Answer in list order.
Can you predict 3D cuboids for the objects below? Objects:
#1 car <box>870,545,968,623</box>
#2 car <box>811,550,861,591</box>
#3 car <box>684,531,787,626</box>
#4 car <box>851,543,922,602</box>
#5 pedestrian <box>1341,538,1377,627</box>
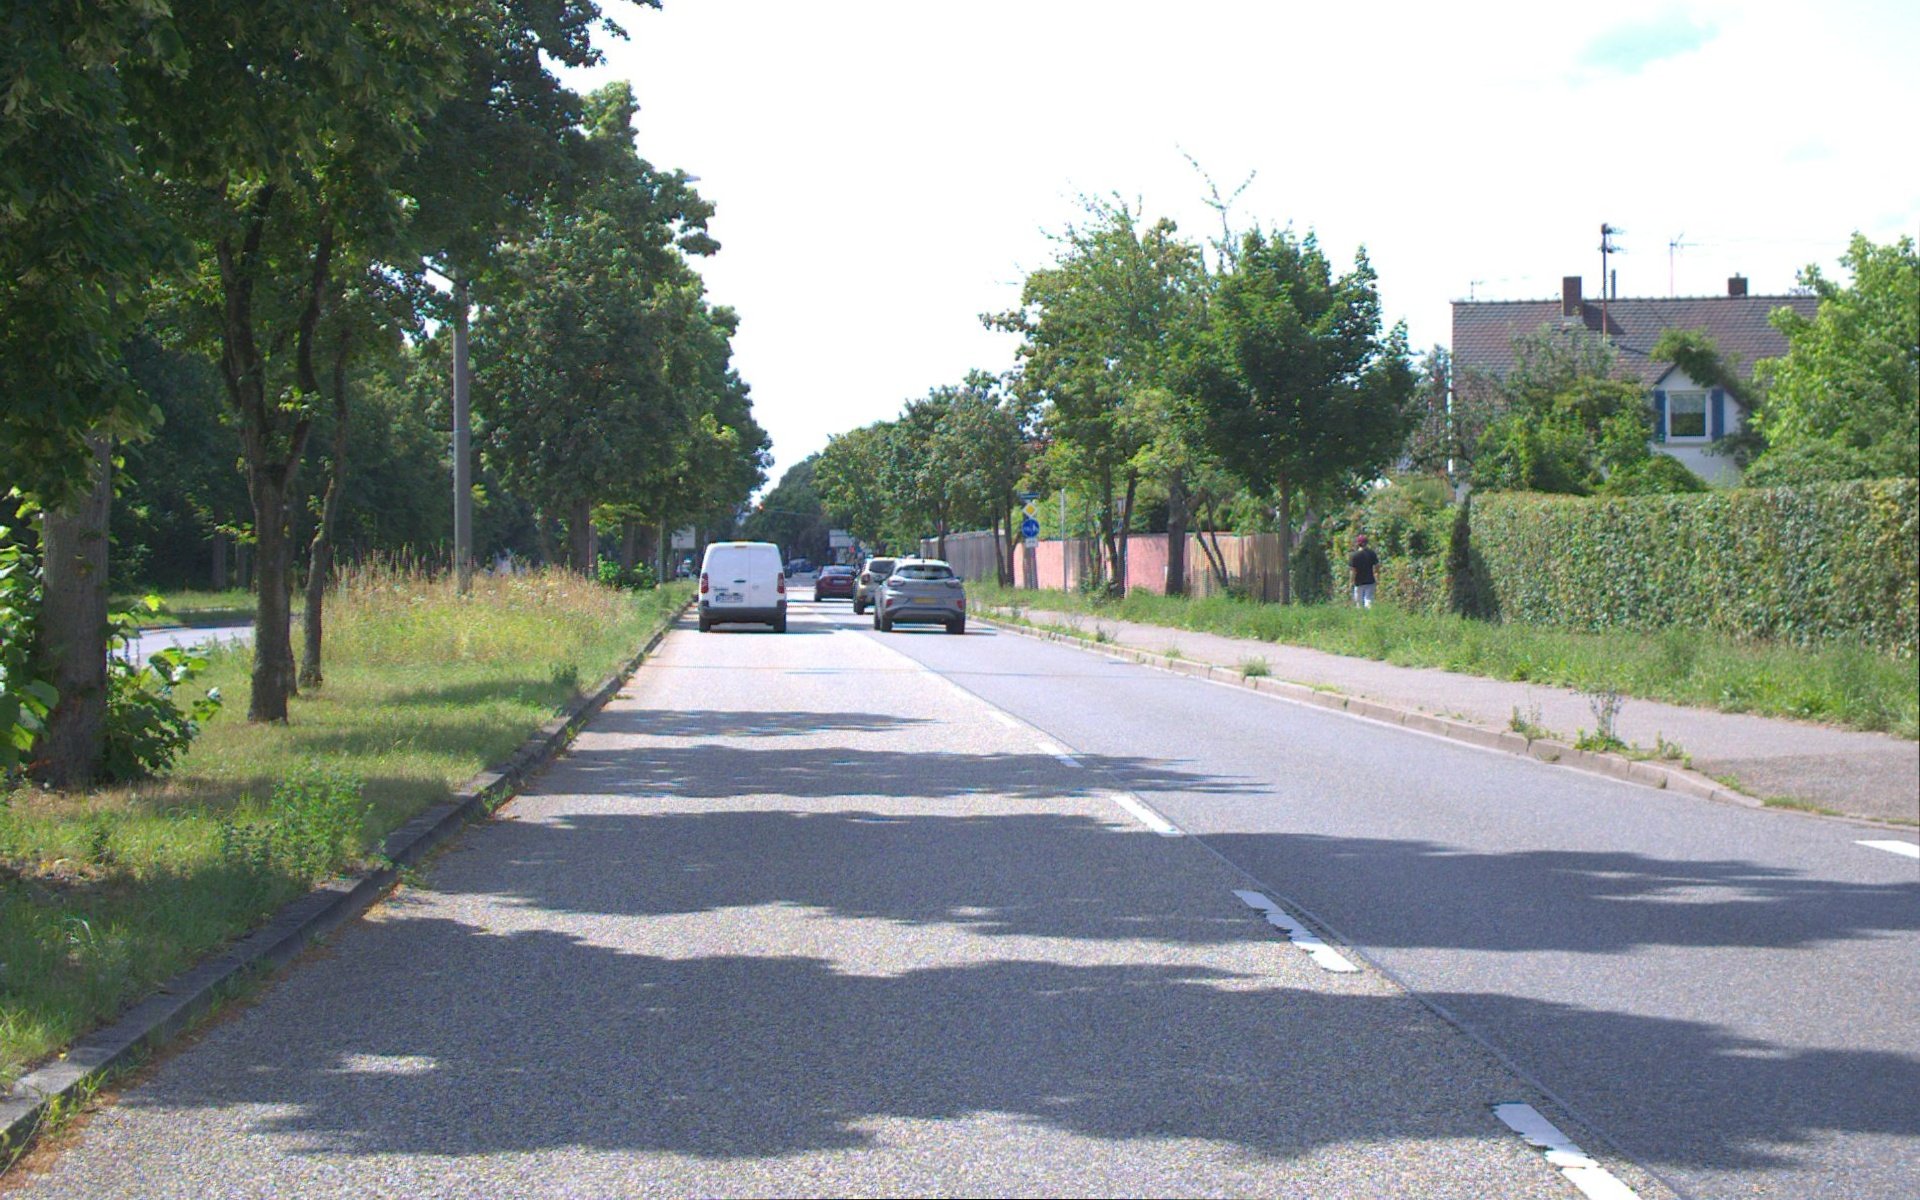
[{"bbox_3d":[-0.902,-0.350,72.762,1.875,1.583,4.185,0,1,-3],"label":"car"},{"bbox_3d":[-4.954,-1.185,136.760,1.880,1.581,4.001,0,1,-4],"label":"car"},{"bbox_3d":[-4.645,-0.461,71.146,2.065,1.905,4.647,0,1,-4],"label":"car"},{"bbox_3d":[-2.138,-0.792,98.573,1.875,1.646,4.001,0,1,-3],"label":"car"},{"bbox_3d":[7.514,-0.340,64.727,0.560,1.671,0.634,0,1,-4],"label":"pedestrian"}]
